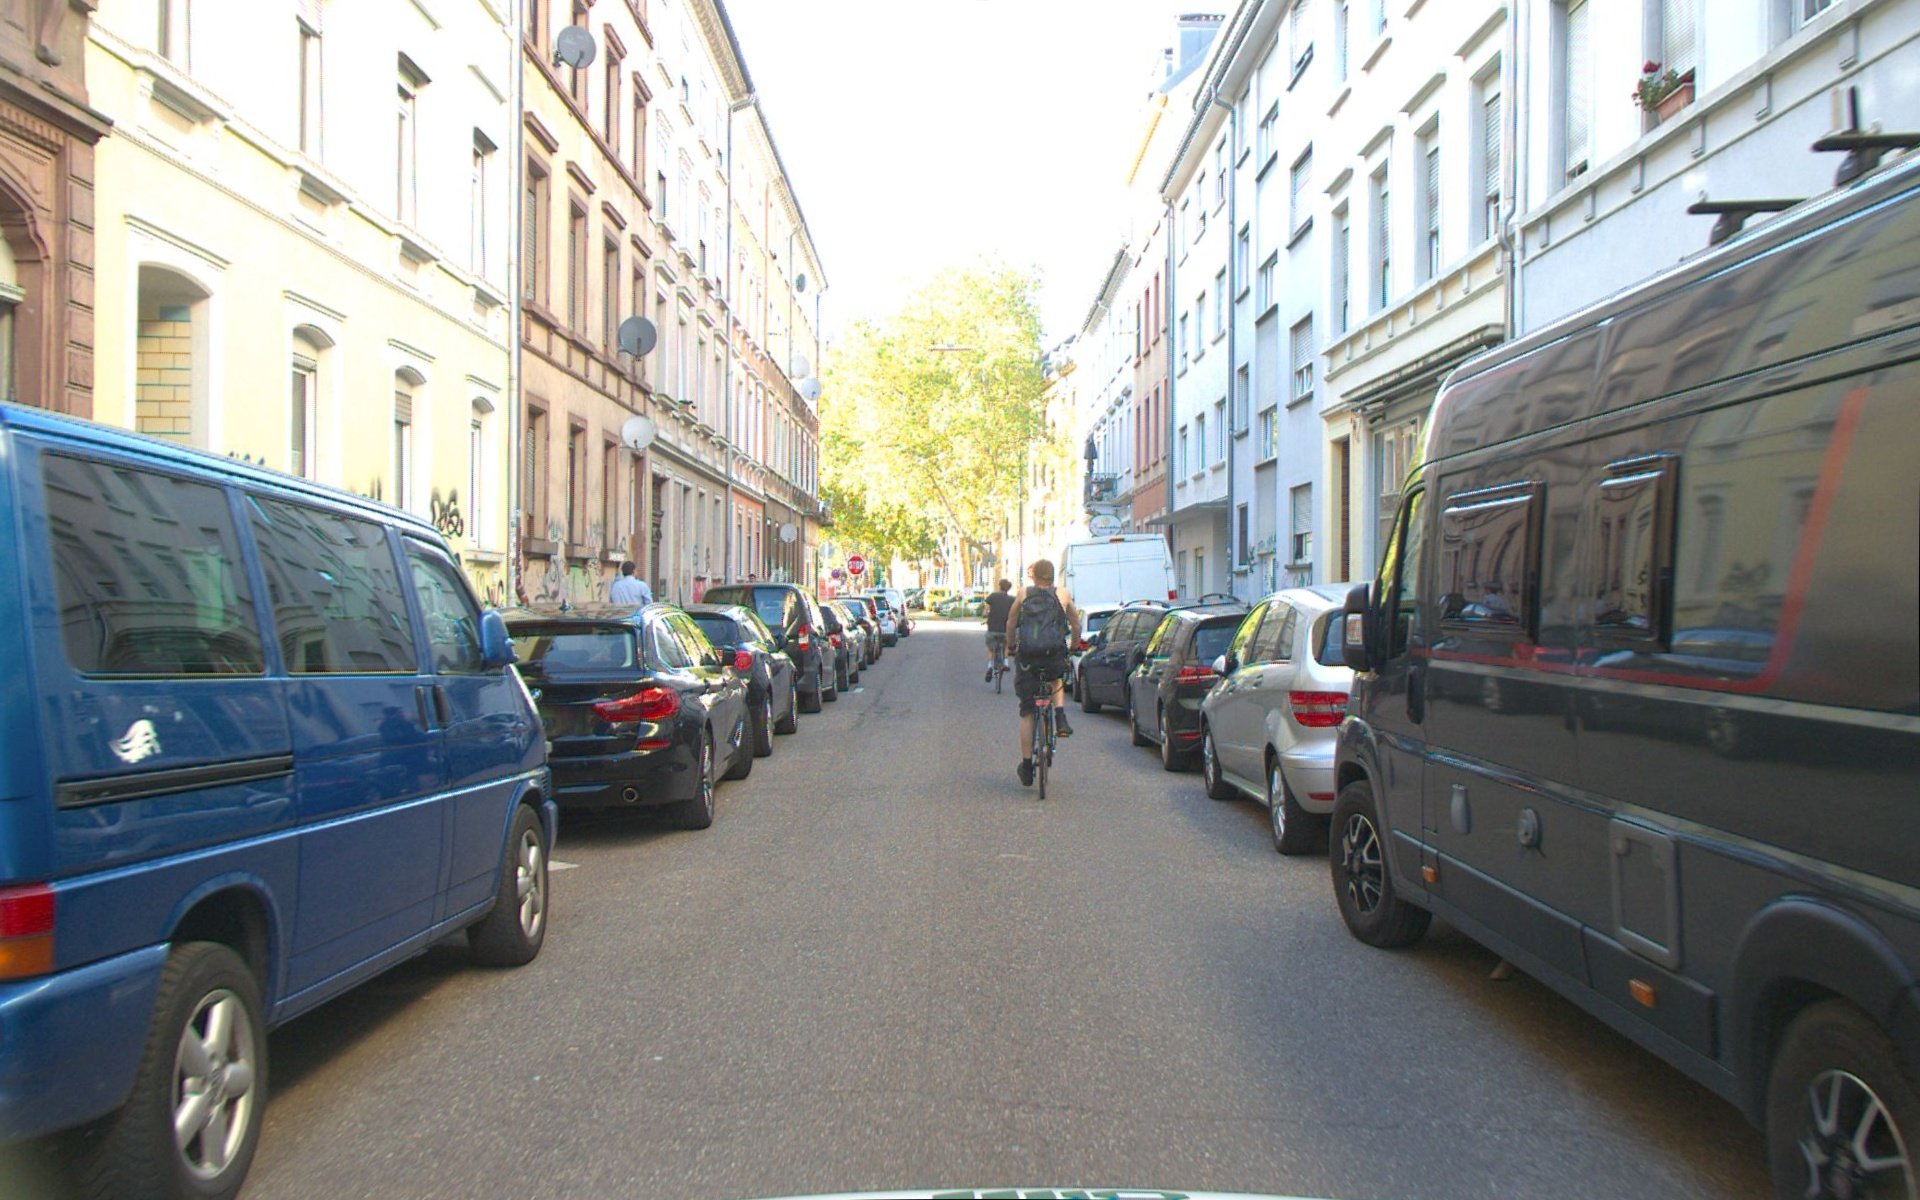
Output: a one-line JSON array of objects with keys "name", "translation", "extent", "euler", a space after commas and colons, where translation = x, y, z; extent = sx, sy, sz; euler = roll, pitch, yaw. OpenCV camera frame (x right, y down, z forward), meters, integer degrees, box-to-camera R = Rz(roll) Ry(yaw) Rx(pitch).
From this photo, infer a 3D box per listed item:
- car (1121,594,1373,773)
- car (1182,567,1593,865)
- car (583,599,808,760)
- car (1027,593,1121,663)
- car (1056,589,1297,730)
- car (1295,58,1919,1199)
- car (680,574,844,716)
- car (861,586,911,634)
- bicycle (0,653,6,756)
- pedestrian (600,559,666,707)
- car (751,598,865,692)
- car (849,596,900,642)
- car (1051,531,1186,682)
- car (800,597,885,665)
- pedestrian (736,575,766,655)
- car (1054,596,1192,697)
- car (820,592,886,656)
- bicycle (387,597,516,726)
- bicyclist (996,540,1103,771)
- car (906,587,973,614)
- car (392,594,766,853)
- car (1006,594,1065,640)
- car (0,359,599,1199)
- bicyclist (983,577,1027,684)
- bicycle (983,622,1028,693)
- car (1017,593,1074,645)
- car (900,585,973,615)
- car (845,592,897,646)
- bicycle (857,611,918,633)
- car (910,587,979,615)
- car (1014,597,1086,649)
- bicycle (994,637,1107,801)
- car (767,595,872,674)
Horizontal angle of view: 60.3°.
[{"name": "car", "translation": [2.674, 0.712, 16.346], "extent": [1.710, 1.511, 4.242], "euler": [-1, 0, -1]}, {"name": "car", "translation": [2.727, 0.651, 11.595], "extent": [1.659, 1.636, 4.374], "euler": [-2, 0, -1]}, {"name": "car", "translation": [-2.619, 0.731, 17.223], "extent": [1.701, 1.452, 4.000], "euler": [-1, 0, 0]}, {"name": "car", "translation": [2.573, 0.599, 38.153], "extent": [1.696, 1.496, 4.019], "euler": [-1, 0, -3]}, {"name": "car", "translation": [2.664, 0.673, 21.518], "extent": [1.778, 1.503, 4.598], "euler": [-3, 1, -10]}, {"name": "car", "translation": [2.795, 0.220, 5.068], "extent": [2.131, 2.468, 6.308], "euler": [-2, 0, -1]}, {"name": "car", "translation": [-2.680, 0.571, 23.182], "extent": [1.764, 1.728, 4.000], "euler": [-2, 0, 0]}, {"name": "car", "translation": [-2.790, 0.353, 62.732], "extent": [1.751, 1.767, 3.875], "euler": [-1, 0, -1]}, {"name": "bicycle", "translation": [-5.354, 0.776, 7.553], "extent": [0.739, 1.038, 2.029], "euler": [4, 0, 1]}, {"name": "pedestrian", "translation": [-4.215, 0.414, 21.337], "extent": [0.637, 1.849, 0.754], "euler": [2, 0, 0]}, {"name": "car", "translation": [-2.522, 0.717, 28.161], "extent": [1.559, 1.465, 3.654], "euler": [-1, 0, 0]}, {"name": "car", "translation": [-2.783, 0.595, 54.294], "extent": [1.521, 1.424, 3.667], "euler": [-1, 0, -1]}, {"name": "car", "translation": [2.906, 0.100, 31.626], "extent": [2.159, 2.595, 6.037], "euler": [-1, 0, 2]}, {"name": "car", "translation": [-2.664, 0.667, 38.196], "extent": [1.671, 1.438, 4.302], "euler": [-1, 0, 0]}, {"name": "pedestrian", "translation": [-5.075, 0.361, 40.212], "extent": [0.598, 1.890, 0.754], "euler": [2, 0, -1]}, {"name": "car", "translation": [2.503, 0.674, 26.180], "extent": [1.690, 1.454, 3.831], "euler": [-1, 0, -2]}, {"name": "car", "translation": [-2.751, 0.591, 43.155], "extent": [1.572, 1.556, 3.377], "euler": [-1, 0, -2]}, {"name": "bicycle", "translation": [-5.478, 0.620, 17.961], "extent": [0.654, 1.267, 2.327], "euler": [3, 0, -1]}, {"name": "bicyclist", "translation": [0.679, 0.415, 12.942], "extent": [0.725, 1.708, 1.116], "euler": [1, 0, -1]}, {"name": "car", "translation": [-1.372, 0.045, 110.610], "extent": [4.381, 1.725, 1.864], "euler": [-1, 0, -5]}, {"name": "car", "translation": [-2.536, 0.724, 12.162], "extent": [1.824, 1.465, 4.643], "euler": [-1, 1, -2]}, {"name": "car", "translation": [2.529, 0.564, 56.407], "extent": [1.676, 1.496, 3.998], "euler": [-1, 0, -2]}, {"name": "car", "translation": [-2.623, 0.533, 5.457], "extent": [1.790, 1.924, 4.613], "euler": [-3, 0, 0]}, {"name": "bicyclist", "translation": [0.720, 0.485, 26.618], "extent": [0.656, 1.687, 0.877], "euler": [-1, 0, 0]}, {"name": "bicycle", "translation": [0.721, 0.910, 26.716], "extent": [0.650, 1.055, 1.958], "euler": [-1, 0, 0]}, {"name": "car", "translation": [2.595, 0.567, 50.950], "extent": [1.559, 1.518, 3.876], "euler": [-1, 0, 0]}, {"name": "car", "translation": [-1.473, 0.017, 102.165], "extent": [4.381, 1.790, 1.864], "euler": [-1, 0, -5]}, {"name": "car", "translation": [-2.724, 0.542, 50.530], "extent": [1.513, 1.578, 3.463], "euler": [-1, 0, -3]}, {"name": "bicycle", "translation": [-3.155, 0.956, 72.228], "extent": [2.661, 0.907, 0.618], "euler": [-1, 0, -3]}, {"name": "car", "translation": [-1.034, 0.055, 107.175], "extent": [4.381, 1.725, 1.864], "euler": [-1, 0, -5]}, {"name": "car", "translation": [2.456, 0.602, 45.857], "extent": [1.624, 1.362, 3.998], "euler": [-1, 0, -2]}, {"name": "bicycle", "translation": [0.675, 0.885, 13.007], "extent": [0.725, 1.120, 2.042], "euler": [1, 0, -1]}, {"name": "car", "translation": [-2.748, 0.644, 33.136], "extent": [1.639, 1.455, 3.889], "euler": [-1, 0, 2]}]
